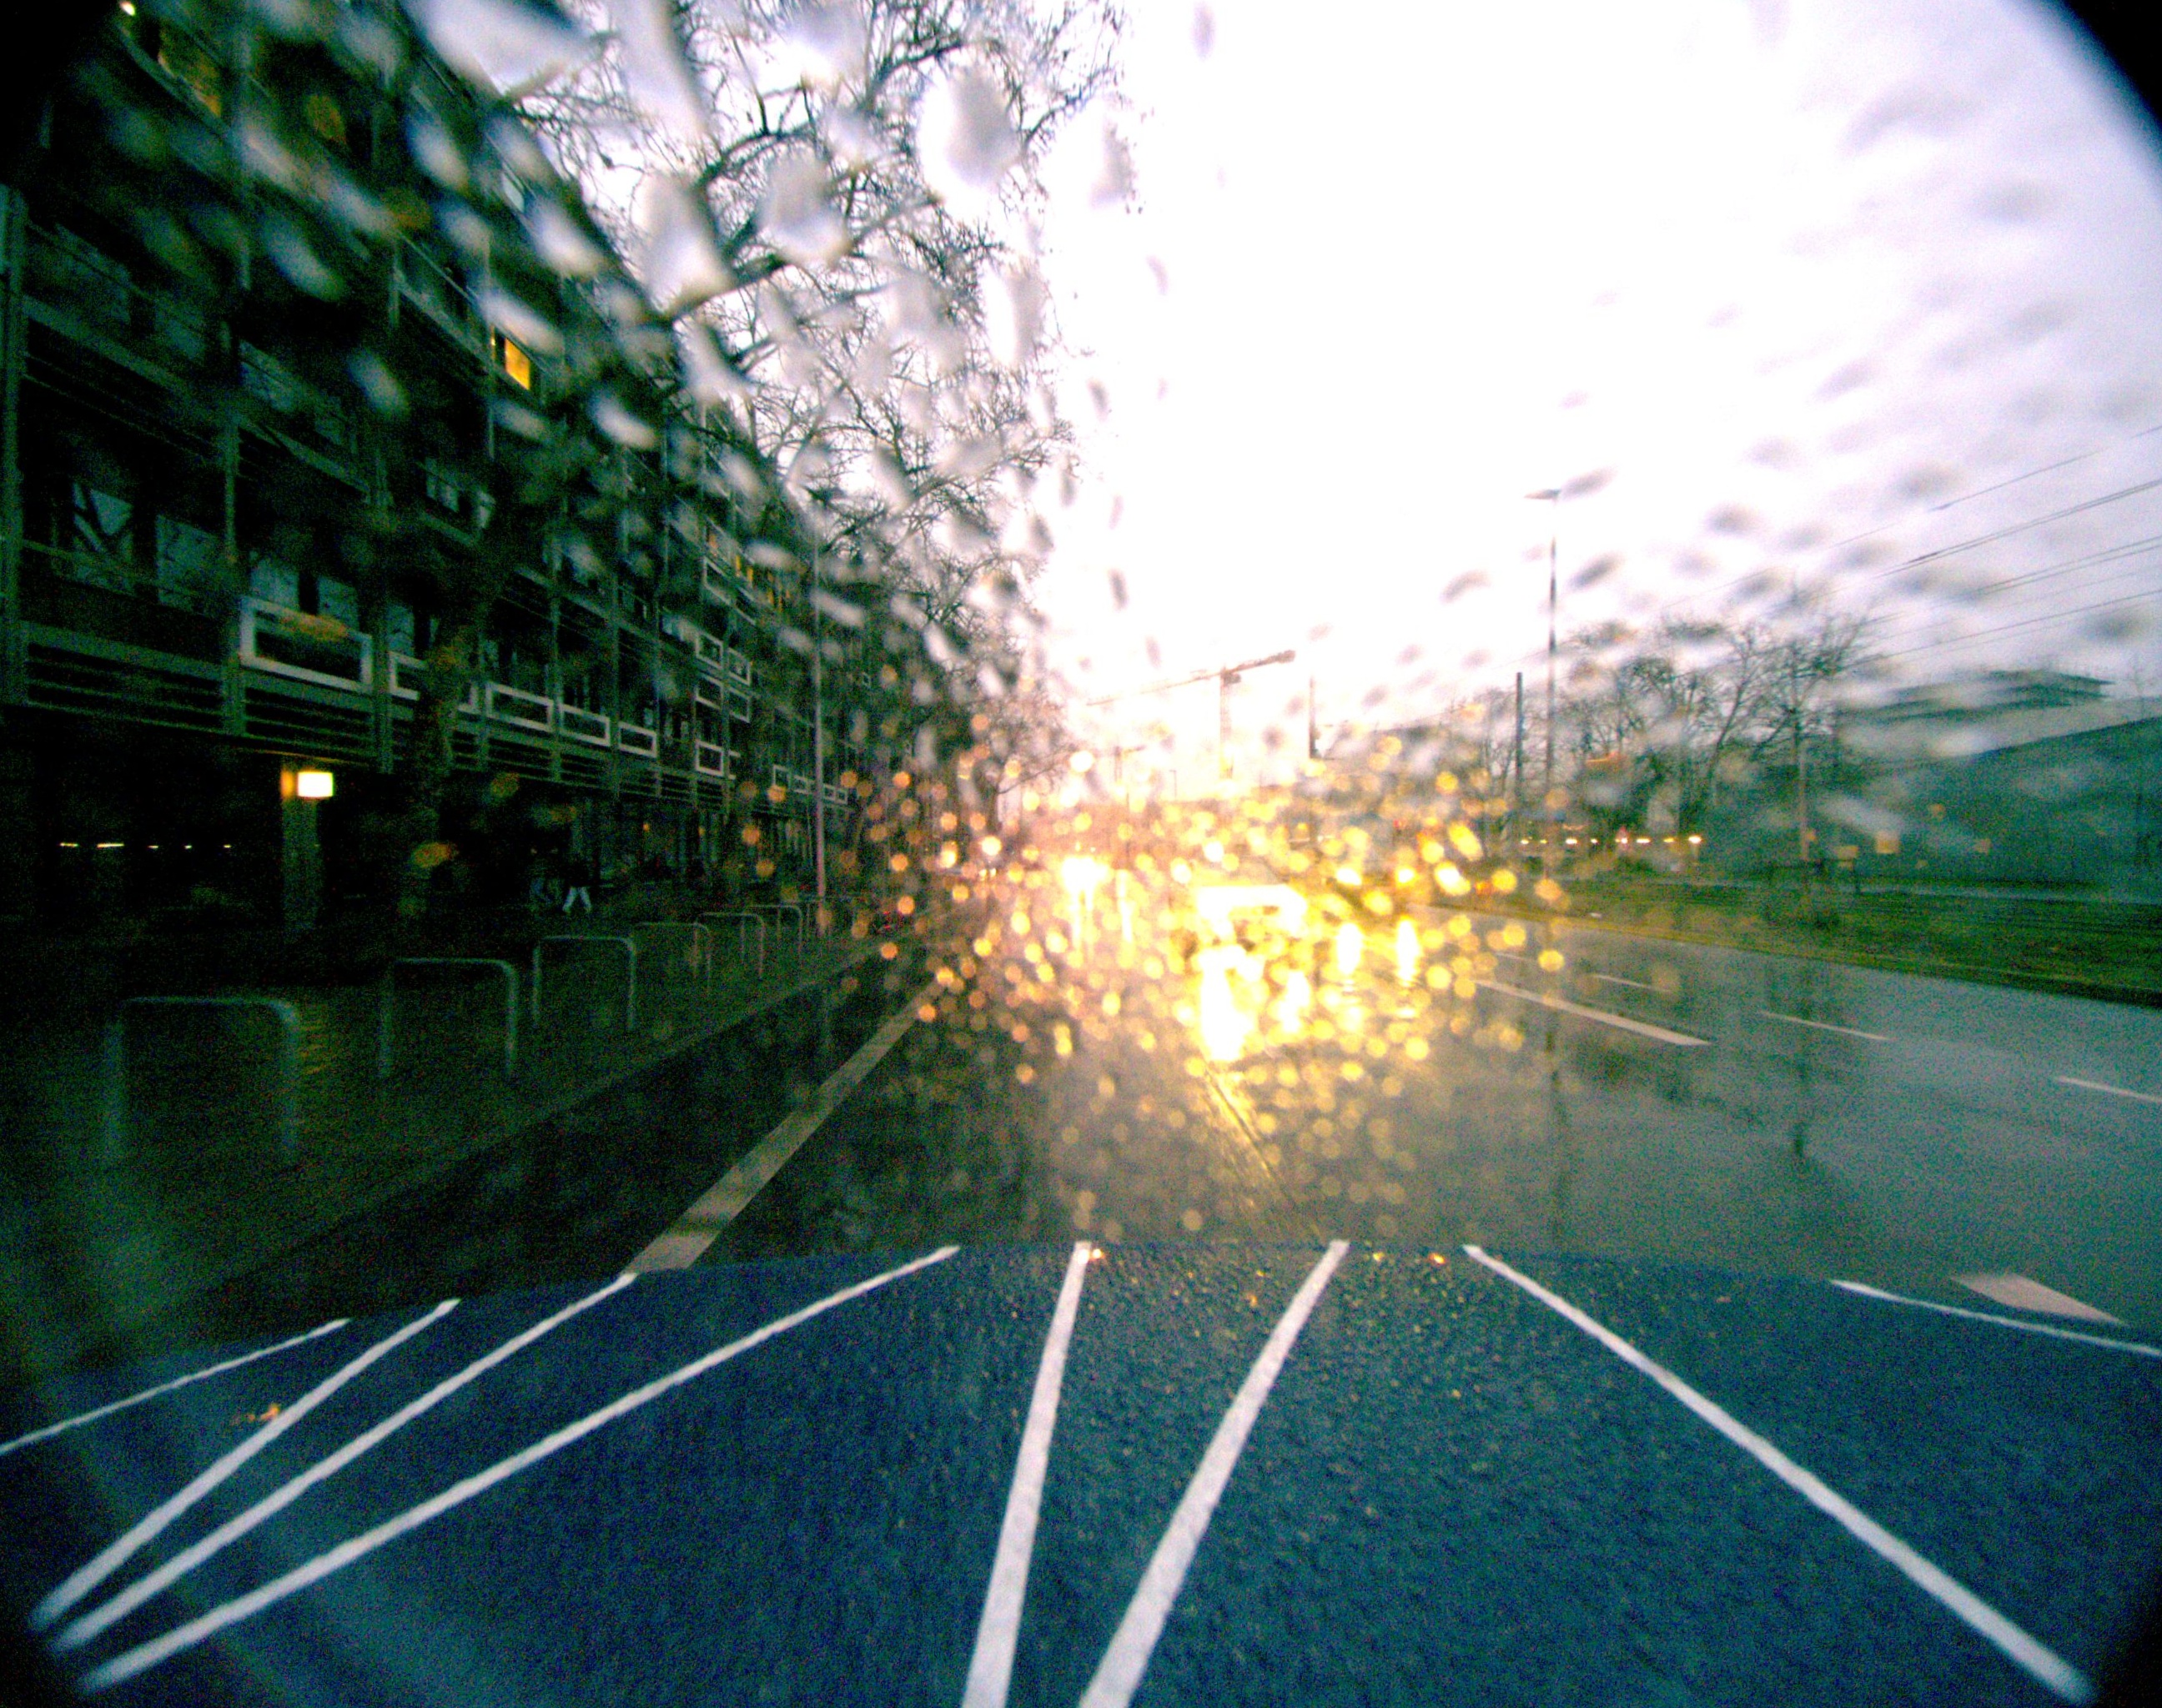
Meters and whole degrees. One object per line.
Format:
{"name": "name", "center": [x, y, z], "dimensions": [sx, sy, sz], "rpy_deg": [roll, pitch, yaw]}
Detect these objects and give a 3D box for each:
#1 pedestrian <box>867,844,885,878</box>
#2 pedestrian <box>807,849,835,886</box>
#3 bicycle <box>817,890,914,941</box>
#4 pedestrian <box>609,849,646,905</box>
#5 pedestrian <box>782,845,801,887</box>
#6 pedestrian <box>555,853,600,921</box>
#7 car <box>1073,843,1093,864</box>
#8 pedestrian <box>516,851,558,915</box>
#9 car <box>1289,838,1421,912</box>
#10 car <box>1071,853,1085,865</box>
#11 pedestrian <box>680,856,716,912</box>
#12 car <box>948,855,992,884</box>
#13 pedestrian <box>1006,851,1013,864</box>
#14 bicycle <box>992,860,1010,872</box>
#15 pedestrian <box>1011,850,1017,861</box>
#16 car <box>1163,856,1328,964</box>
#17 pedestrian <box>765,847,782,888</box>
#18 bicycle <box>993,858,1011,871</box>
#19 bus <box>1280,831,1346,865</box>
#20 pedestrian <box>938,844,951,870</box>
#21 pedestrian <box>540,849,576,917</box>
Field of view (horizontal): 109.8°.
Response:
{"name": "pedestrian", "center": [-12.178, 0.391, 45.174], "dimensions": [0.822, 2.002, 0.735], "rpy_deg": [0, 1, -1]}
{"name": "pedestrian", "center": [-10.810, 0.557, 31.635], "dimensions": [0.866, 1.515, 0.838], "rpy_deg": [0, 1, 1]}
{"name": "bicycle", "center": [-4.393, 1.255, 15.572], "dimensions": [1.792, 0.968, 0.617], "rpy_deg": [1, 1, -4]}
{"name": "pedestrian", "center": [-13.575, 0.679, 22.762], "dimensions": [0.617, 1.647, 0.780], "rpy_deg": [0, 1, 1]}
{"name": "pedestrian", "center": [-12.026, 0.472, 31.564], "dimensions": [0.661, 1.708, 0.841], "rpy_deg": [-1, 1, -23]}
{"name": "pedestrian", "center": [-12.515, 0.802, 18.907], "dimensions": [0.501, 1.658, 0.873], "rpy_deg": [0, 1, 1]}
{"name": "car", "center": [0.196, -0.031, 74.652], "dimensions": [1.858, 2.002, 4.000], "rpy_deg": [-1, 0, 1]}
{"name": "pedestrian", "center": [-13.513, 0.702, 18.875], "dimensions": [0.484, 1.555, 0.745], "rpy_deg": [0, 1, 0]}
{"name": "car", "center": [7.088, 0.474, 20.203], "dimensions": [1.707, 1.733, 4.611], "rpy_deg": [0, 0, -2]}
{"name": "car", "center": [-0.370, 0.731, 105.980], "dimensions": [1.858, 1.591, 4.001], "rpy_deg": [-1, -1, 1]}
{"name": "pedestrian", "center": [-10.673, 0.833, 21.190], "dimensions": [0.649, 1.535, 0.615], "rpy_deg": [0, 1, 2]}
{"name": "car", "center": [-5.993, 0.818, 41.350], "dimensions": [1.608, 1.424, 3.930], "rpy_deg": [2, 1, 2]}
{"name": "pedestrian", "center": [-11.153, 0.496, 118.646], "dimensions": [0.838, 2.002, 0.771], "rpy_deg": [-2, 1, 0]}
{"name": "bicycle", "center": [-6.806, 1.017, 64.818], "dimensions": [1.523, 1.030, 0.469], "rpy_deg": [-2, 1, -7]}
{"name": "pedestrian", "center": [-12.362, 0.191, 140.454], "dimensions": [0.838, 2.002, 0.771], "rpy_deg": [-2, 1, 0]}
{"name": "car", "center": [2.575, 0.807, 12.923], "dimensions": [1.778, 1.466, 4.128], "rpy_deg": [-1, 0, -2]}
{"name": "pedestrian", "center": [-12.614, 0.539, 31.147], "dimensions": [0.642, 1.645, 0.841], "rpy_deg": [-1, 1, -23]}
{"name": "bicycle", "center": [-6.920, 0.934, 66.210], "dimensions": [1.523, 1.030, 0.469], "rpy_deg": [-2, 1, -7]}
{"name": "bus", "center": [26.501, -0.692, 87.736], "dimensions": [2.815, 3.557, 12.299], "rpy_deg": [0, 0, -5]}
{"name": "pedestrian", "center": [-10.367, 0.224, 57.595], "dimensions": [0.791, 2.002, 1.024], "rpy_deg": [0, 1, 0]}
{"name": "pedestrian", "center": [-13.015, 0.703, 18.922], "dimensions": [0.379, 1.658, 0.713], "rpy_deg": [0, 1, 1]}
